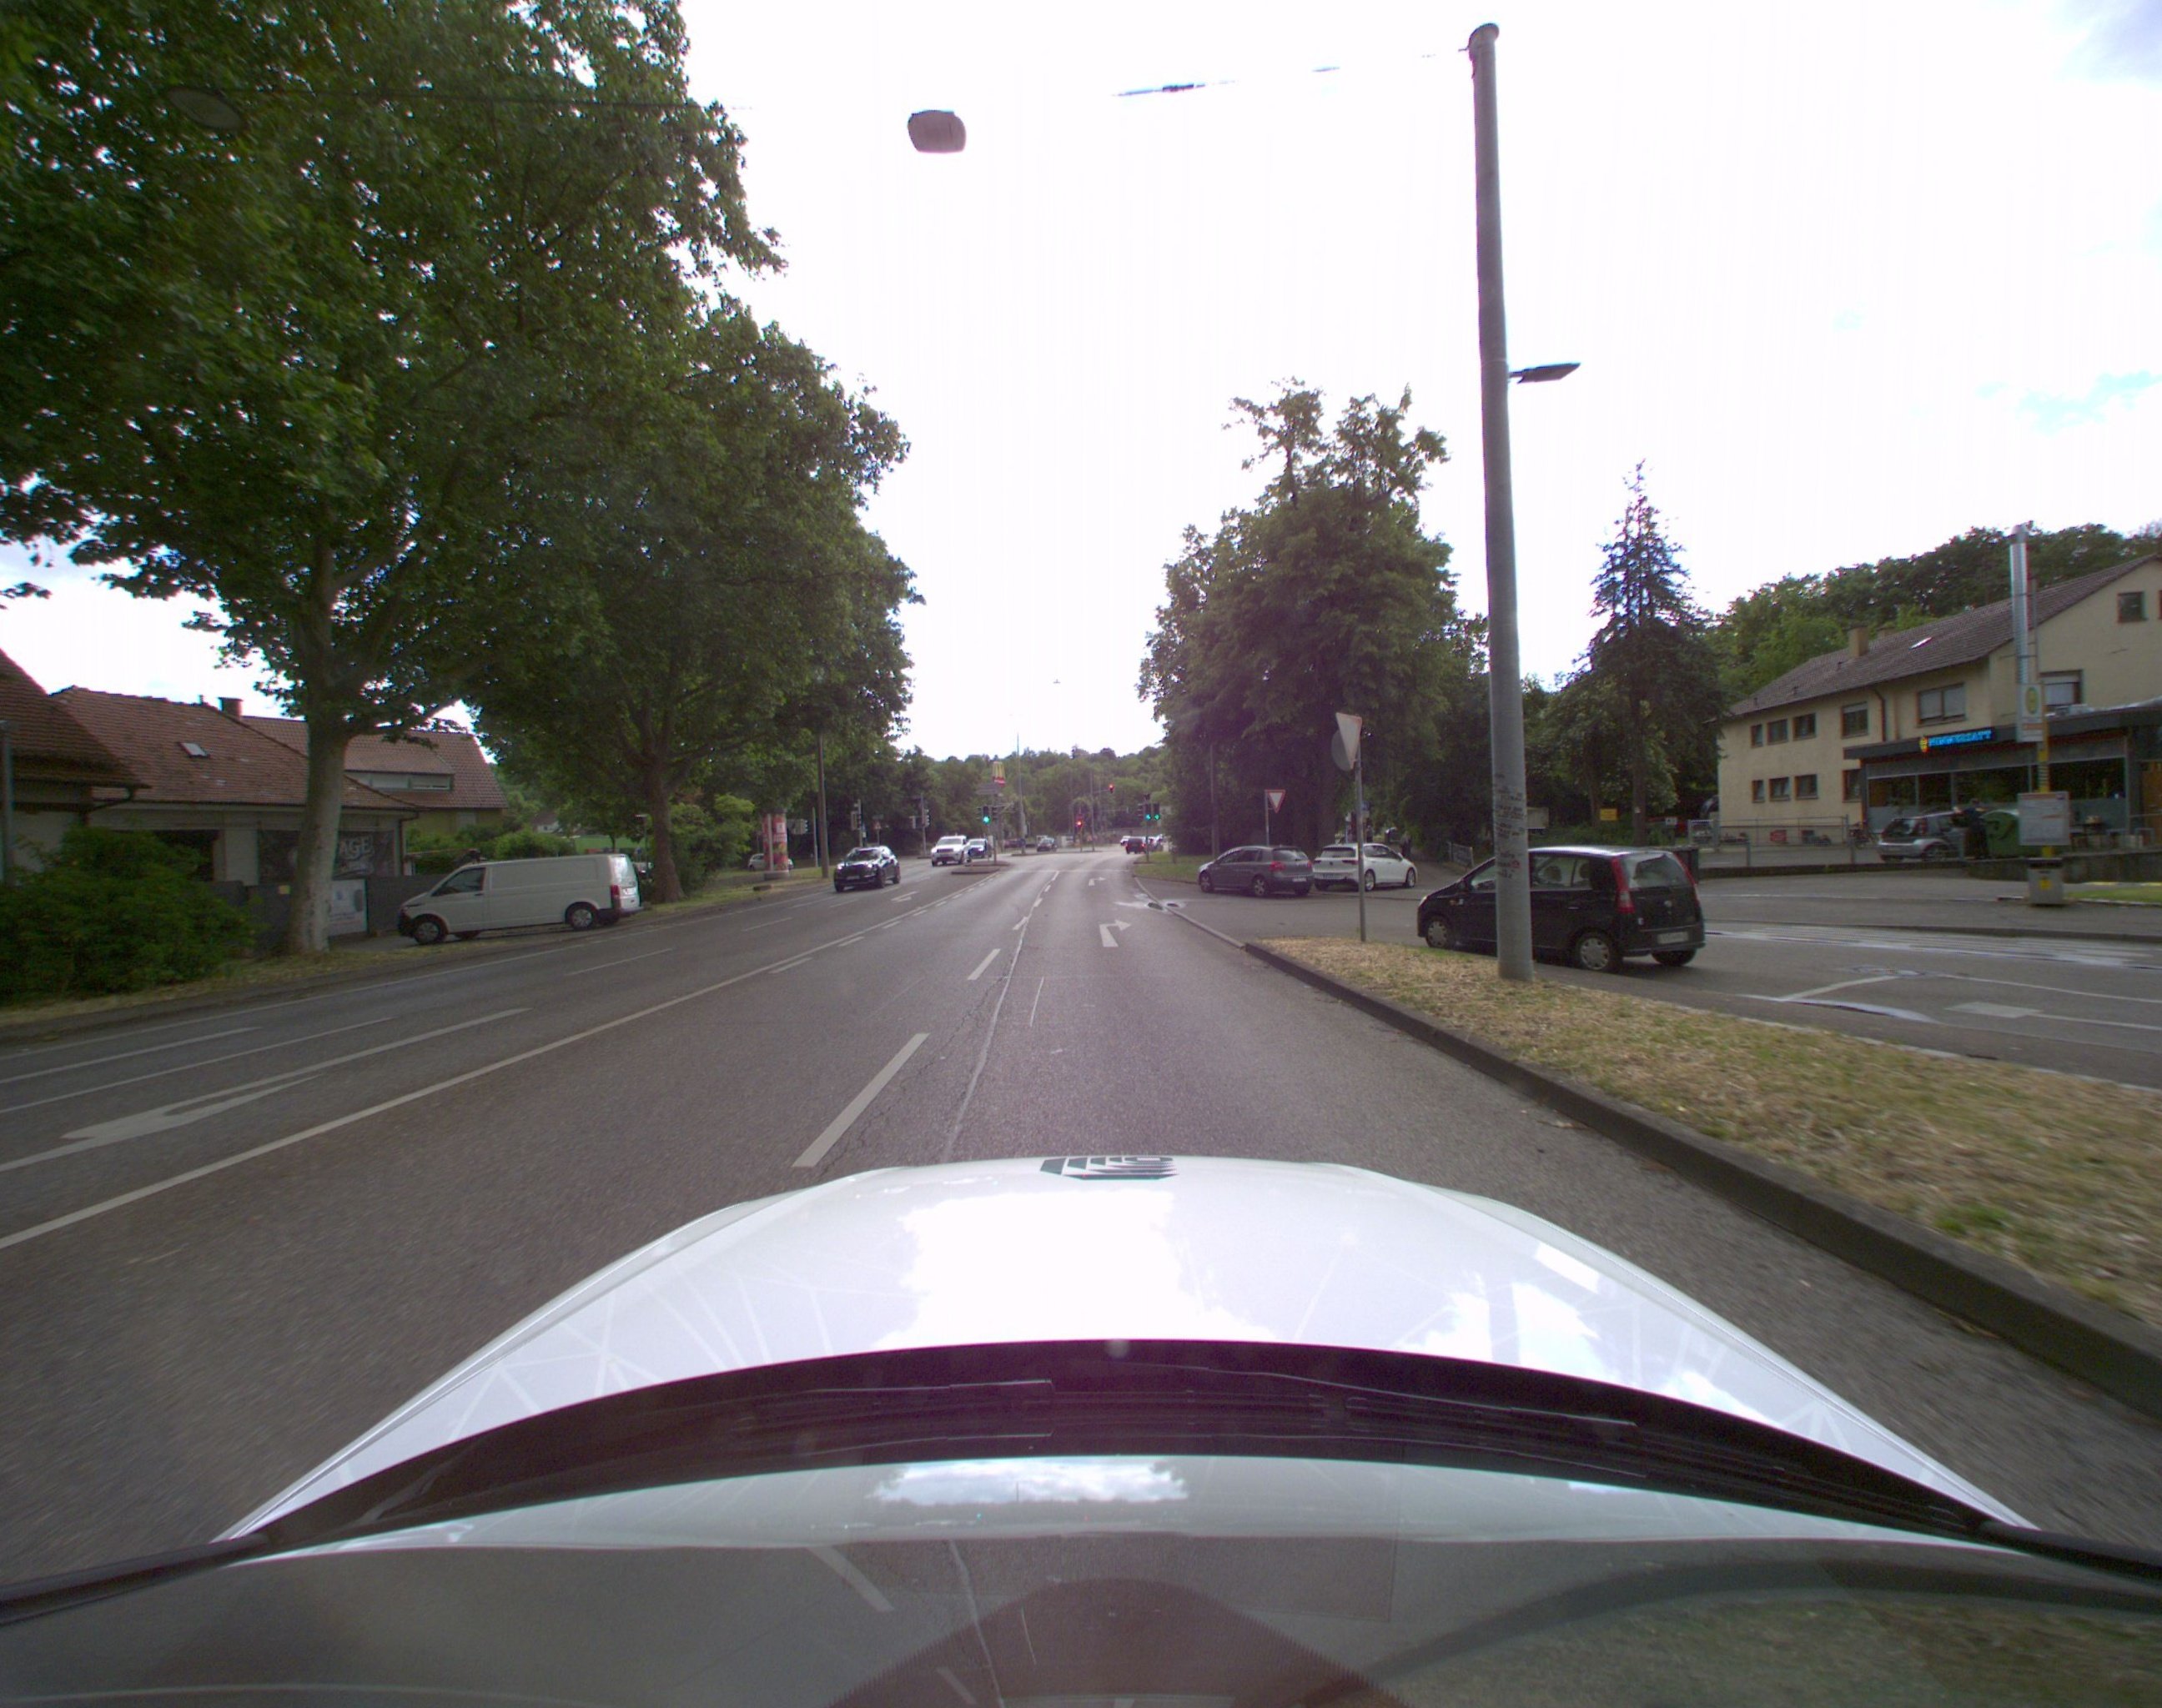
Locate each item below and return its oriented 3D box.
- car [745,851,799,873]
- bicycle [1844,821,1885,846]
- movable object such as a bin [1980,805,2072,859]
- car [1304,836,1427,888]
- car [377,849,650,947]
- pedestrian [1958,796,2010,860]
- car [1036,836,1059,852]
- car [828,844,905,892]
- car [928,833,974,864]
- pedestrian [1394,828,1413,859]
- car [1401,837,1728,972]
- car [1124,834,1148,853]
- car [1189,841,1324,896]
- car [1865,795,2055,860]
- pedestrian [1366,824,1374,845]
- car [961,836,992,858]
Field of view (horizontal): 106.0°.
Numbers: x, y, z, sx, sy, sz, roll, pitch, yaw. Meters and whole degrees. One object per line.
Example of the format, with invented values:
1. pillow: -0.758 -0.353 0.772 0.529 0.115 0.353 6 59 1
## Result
1. car: -24.257 0.625 63.875 3.806 1.479 1.837 -2 1 29
2. bicycle: 30.273 -0.782 31.457 1.968 0.876 0.410 -3 1 -24
3. movable object such as a bin: 25.085 -0.580 21.637 1.210 1.345 0.997 -3 0 6
4. car: 8.949 0.200 25.473 4.285 1.380 1.743 -3 1 -42
5. car: -14.408 1.050 21.061 5.231 1.931 2.075 -5 1 -13
6. pedestrian: 25.143 -0.717 22.695 0.683 1.729 0.612 -3 0 6
7. car: -3.501 -1.033 86.116 1.557 1.526 3.201 -2 2 13
8. car: -8.614 0.496 33.118 1.790 1.586 4.416 -5 2 0
9. car: -8.141 -0.384 51.309 1.904 1.763 4.755 -3 2 2
10. pedestrian: 16.382 -0.539 41.332 0.680 1.551 0.744 -2 1 6
11. car: 6.104 0.524 10.730 1.574 1.404 3.470 -3 1 -21
12. car: 4.834 -0.911 71.245 1.813 1.509 4.583 -3 1 7
13. car: 5.189 0.356 24.545 1.738 1.428 4.075 -3 2 -28
14. car: 25.405 -0.739 23.657 3.390 1.630 1.630 -3 0 12
15. pedestrian: 20.973 -1.432 59.100 0.507 1.531 0.781 -2 0 15
16. car: -7.892 -0.554 61.871 1.562 1.382 3.953 -4 2 3
